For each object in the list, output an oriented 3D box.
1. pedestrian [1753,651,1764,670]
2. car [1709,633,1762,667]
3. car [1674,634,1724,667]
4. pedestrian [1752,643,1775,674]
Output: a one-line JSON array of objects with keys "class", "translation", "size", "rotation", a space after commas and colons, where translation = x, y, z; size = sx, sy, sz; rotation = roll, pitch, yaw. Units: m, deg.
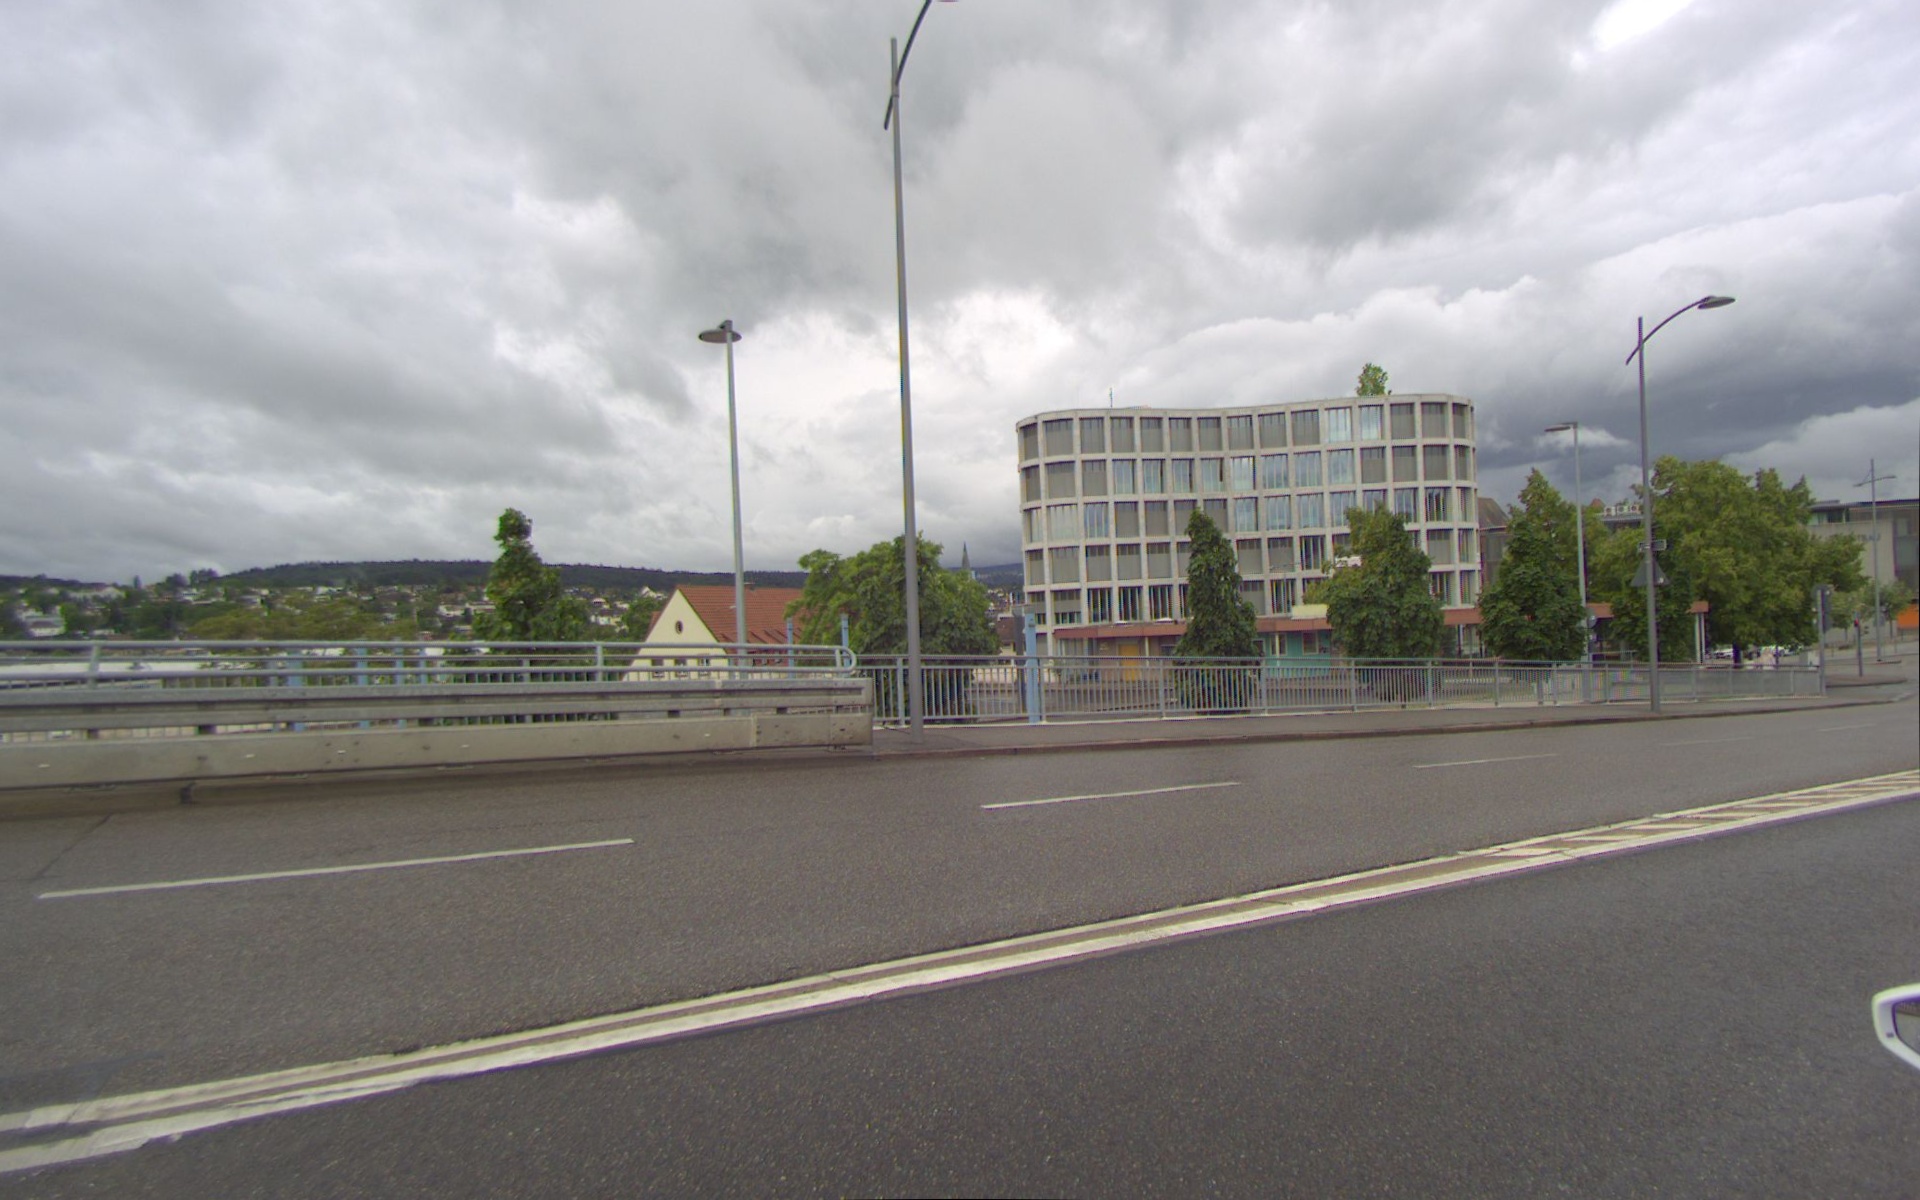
[{"class": "pedestrian", "translation": [38.169, 2.888, 48.005], "size": [0.294, 0.885, 0.300], "rotation": [-1, -1, -27]}, {"class": "car", "translation": [55.408, 3.563, 71.856], "size": [1.962, 2.041, 3.997], "rotation": [3, 3, 24]}, {"class": "car", "translation": [53.343, 3.617, 72.581], "size": [1.962, 2.041, 3.997], "rotation": [3, 3, 24]}, {"class": "pedestrian", "translation": [38.297, 2.775, 47.858], "size": [0.524, 1.427, 0.646], "rotation": [-1, -1, -27]}]
